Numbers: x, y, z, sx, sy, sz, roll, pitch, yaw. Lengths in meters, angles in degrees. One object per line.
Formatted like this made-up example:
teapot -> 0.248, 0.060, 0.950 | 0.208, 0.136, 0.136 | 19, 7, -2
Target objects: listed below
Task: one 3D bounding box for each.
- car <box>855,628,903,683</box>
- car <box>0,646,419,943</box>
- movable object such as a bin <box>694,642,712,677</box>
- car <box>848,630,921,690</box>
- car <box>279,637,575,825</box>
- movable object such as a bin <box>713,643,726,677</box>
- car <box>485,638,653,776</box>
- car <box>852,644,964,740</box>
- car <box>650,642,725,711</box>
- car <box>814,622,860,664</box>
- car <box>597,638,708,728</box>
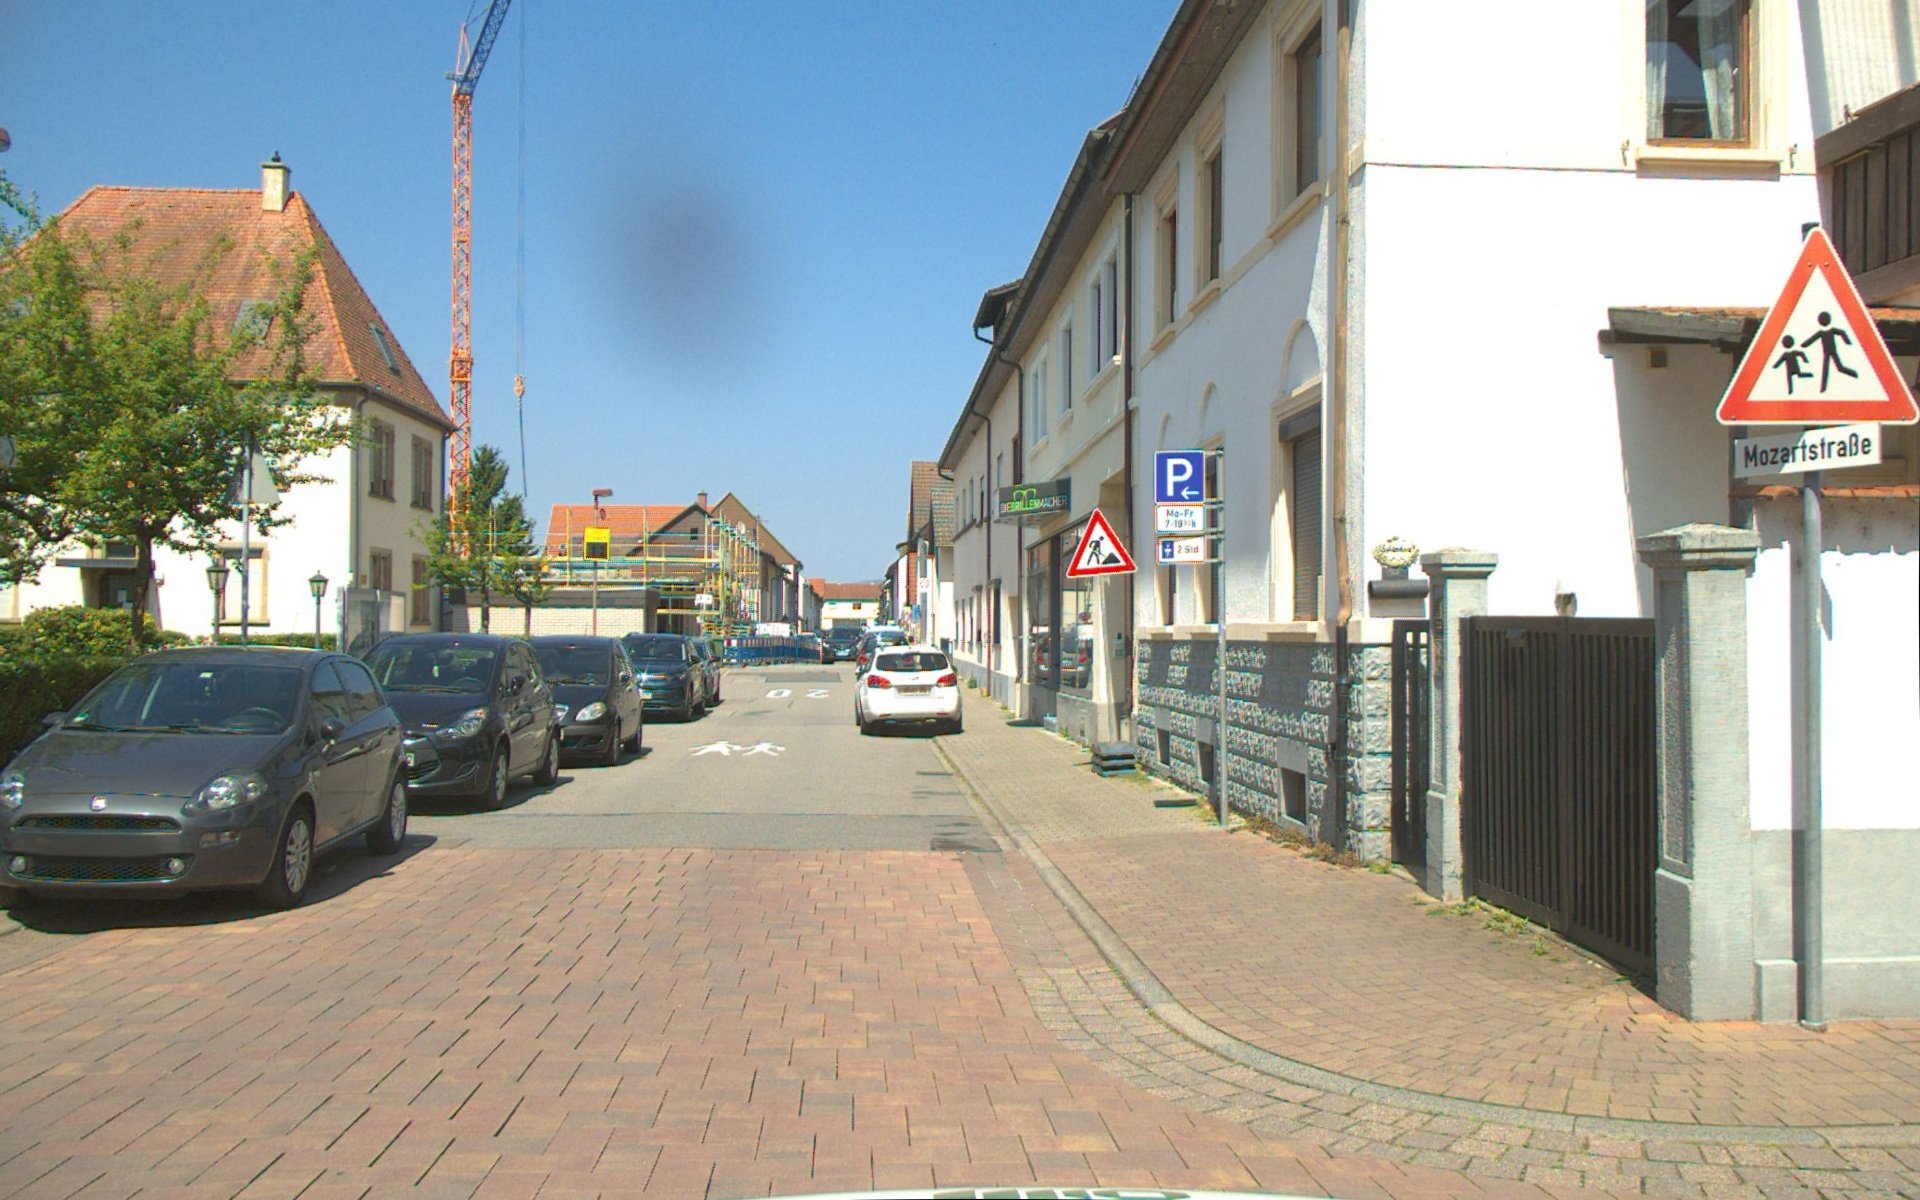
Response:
car -> -2.695, 1.804, 54.557 | 1.533, 1.641, 3.540 | 0, 1, -4
car -> -4.743, 1.071, 10.628 | 1.670, 1.523, 3.851 | 0, -1, -7
movable object such as a bin -> -8.919, 2.067, 57.455 | 0.610, 1.176, 0.675 | 0, -1, -11
car -> -2.289, 1.760, 49.395 | 1.849, 1.583, 3.888 | -3, -1, -6
car -> -5.146, 1.193, 16.541 | 1.779, 1.633, 4.022 | 0, -1, -2
movable object such as a bin -> -8.432, 2.095, 57.983 | 0.424, 1.176, 0.363 | 0, -1, -14
car -> -5.155, 1.354, 22.219 | 1.605, 1.657, 3.764 | 0, -1, -4
car -> -0.935, 1.584, 29.551 | 1.848, 1.569, 4.240 | 0, -1, -2
car -> -6.282, 1.731, 38.373 | 1.408, 1.500, 3.782 | 0, -2, -5
car -> -5.197, 1.809, 69.800 | 1.844, 1.698, 4.149 | 0, -1, -4
car -> -6.047, 1.596, 32.954 | 1.791, 1.659, 4.212 | 0, -1, -5
